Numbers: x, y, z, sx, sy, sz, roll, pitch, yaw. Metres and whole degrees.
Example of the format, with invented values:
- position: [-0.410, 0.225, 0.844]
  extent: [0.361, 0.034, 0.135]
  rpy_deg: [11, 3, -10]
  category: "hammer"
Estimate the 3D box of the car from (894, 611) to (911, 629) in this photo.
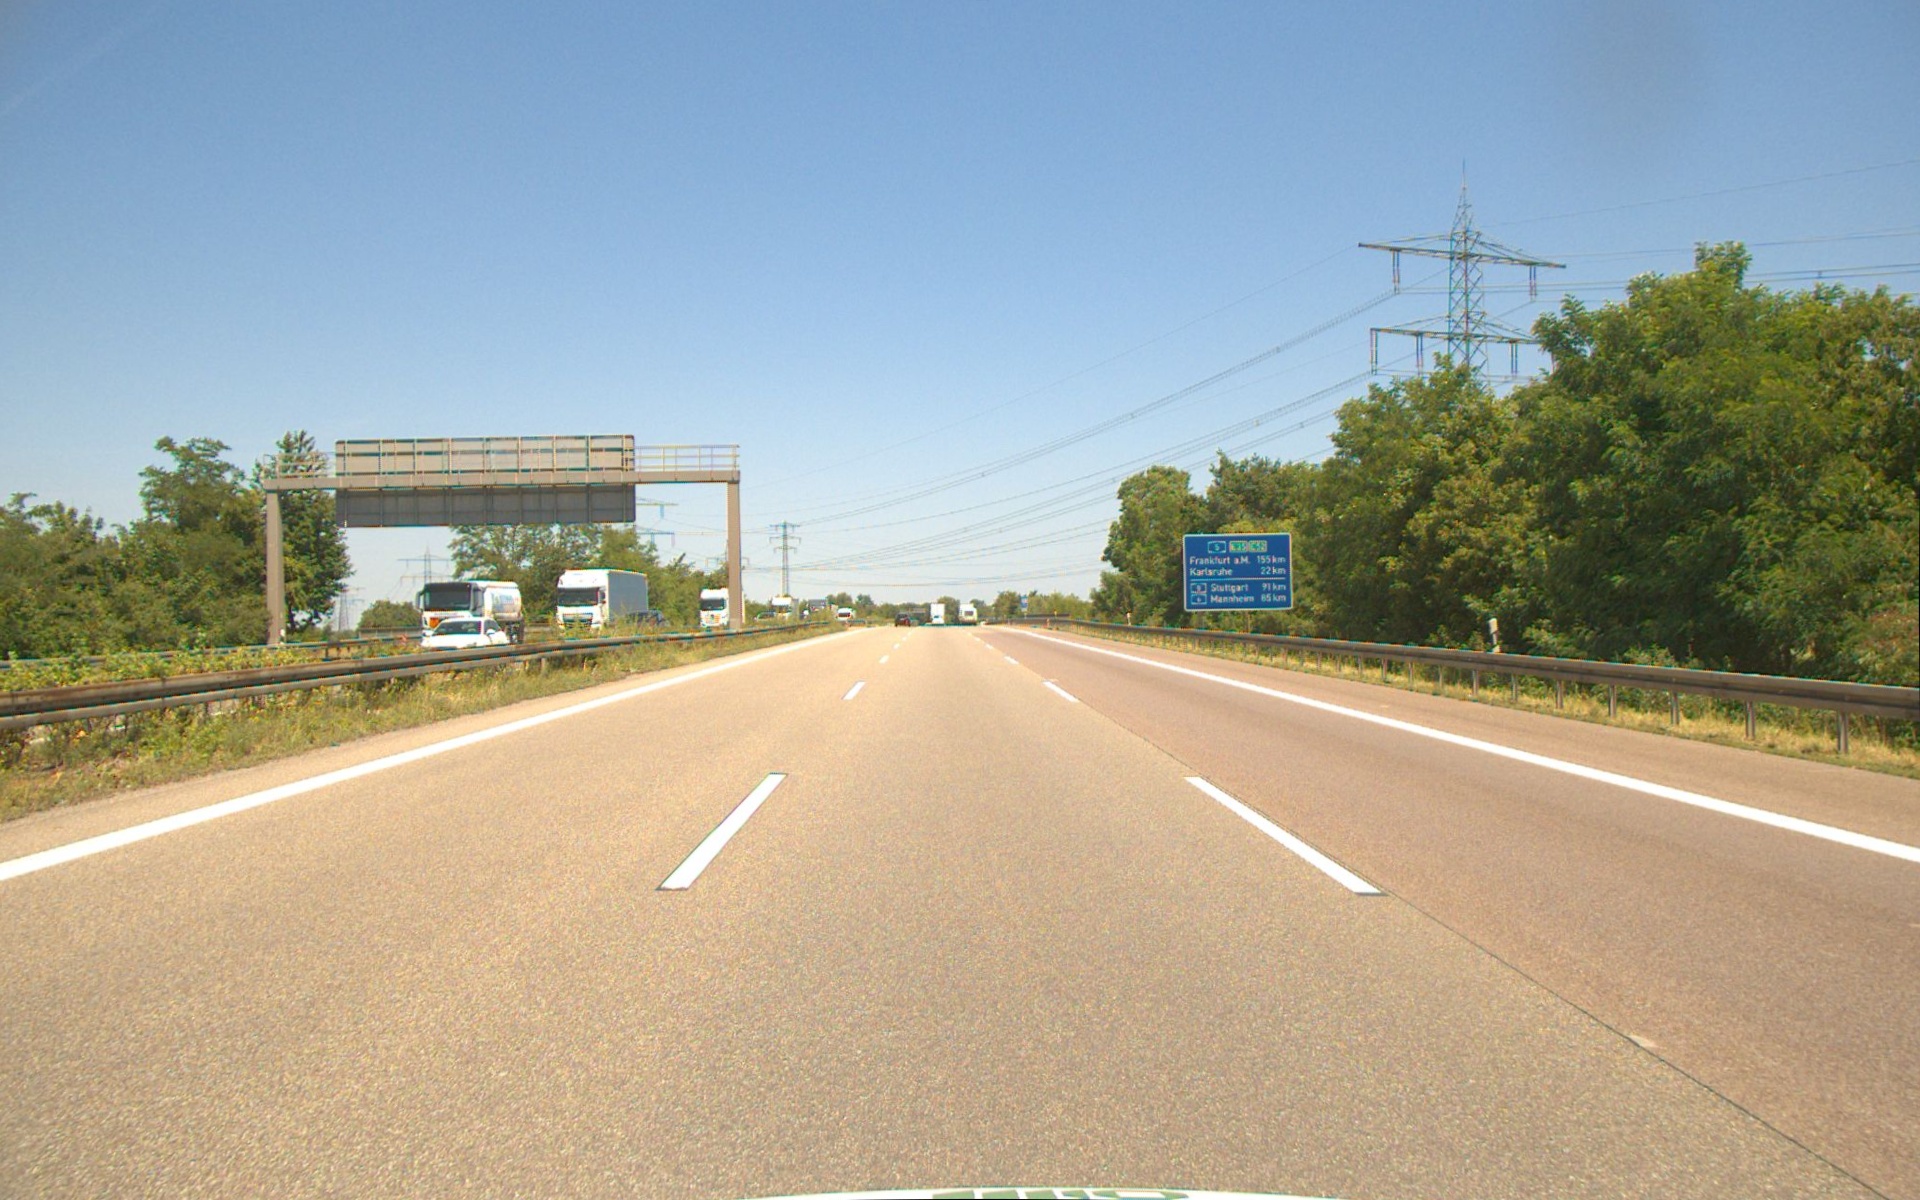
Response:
- position: [-6.491, 2.252, 186.326]
  extent: [1.755, 2.049, 3.887]
  rpy_deg: [0, 0, -1]
  category: "car"

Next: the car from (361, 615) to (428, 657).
- position: [-26.119, 1.638, 76.495]
  extent: [1.893, 1.847, 3.997]
  rpy_deg: [-1, 0, -4]
  category: "car"

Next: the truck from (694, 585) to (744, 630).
- position: [-23.356, 0.740, 161.258]
  extent: [2.901, 4.162, 17.021]
  rpy_deg: [-1, 0, -2]
  category: "truck"

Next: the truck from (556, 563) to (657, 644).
- position: [-21.284, 0.247, 100.768]
  extent: [2.657, 4.466, 17.321]
  rpy_deg: [-1, 0, -1]
  category: "truck"

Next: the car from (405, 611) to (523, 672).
- position: [-13.286, 1.080, 44.578]
  extent: [1.953, 1.536, 4.241]
  rpy_deg: [-1, 0, -1]
  category: "car"

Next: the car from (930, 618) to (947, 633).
- position: [-2.998, 3.622, 234.555]
  extent: [2.132, 1.963, 4.613]
  rpy_deg: [-1, 0, 3]
  category: "car"

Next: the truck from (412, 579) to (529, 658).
- position: [-21.542, 0.811, 73.315]
  extent: [2.657, 3.264, 8.923]
  rpy_deg: [-1, 0, -1]
  category: "truck"

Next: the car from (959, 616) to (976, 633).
- position: [0.883, 2.929, 199.433]
  extent: [1.953, 2.049, 3.999]
  rpy_deg: [-1, 0, -1]
  category: "car"
